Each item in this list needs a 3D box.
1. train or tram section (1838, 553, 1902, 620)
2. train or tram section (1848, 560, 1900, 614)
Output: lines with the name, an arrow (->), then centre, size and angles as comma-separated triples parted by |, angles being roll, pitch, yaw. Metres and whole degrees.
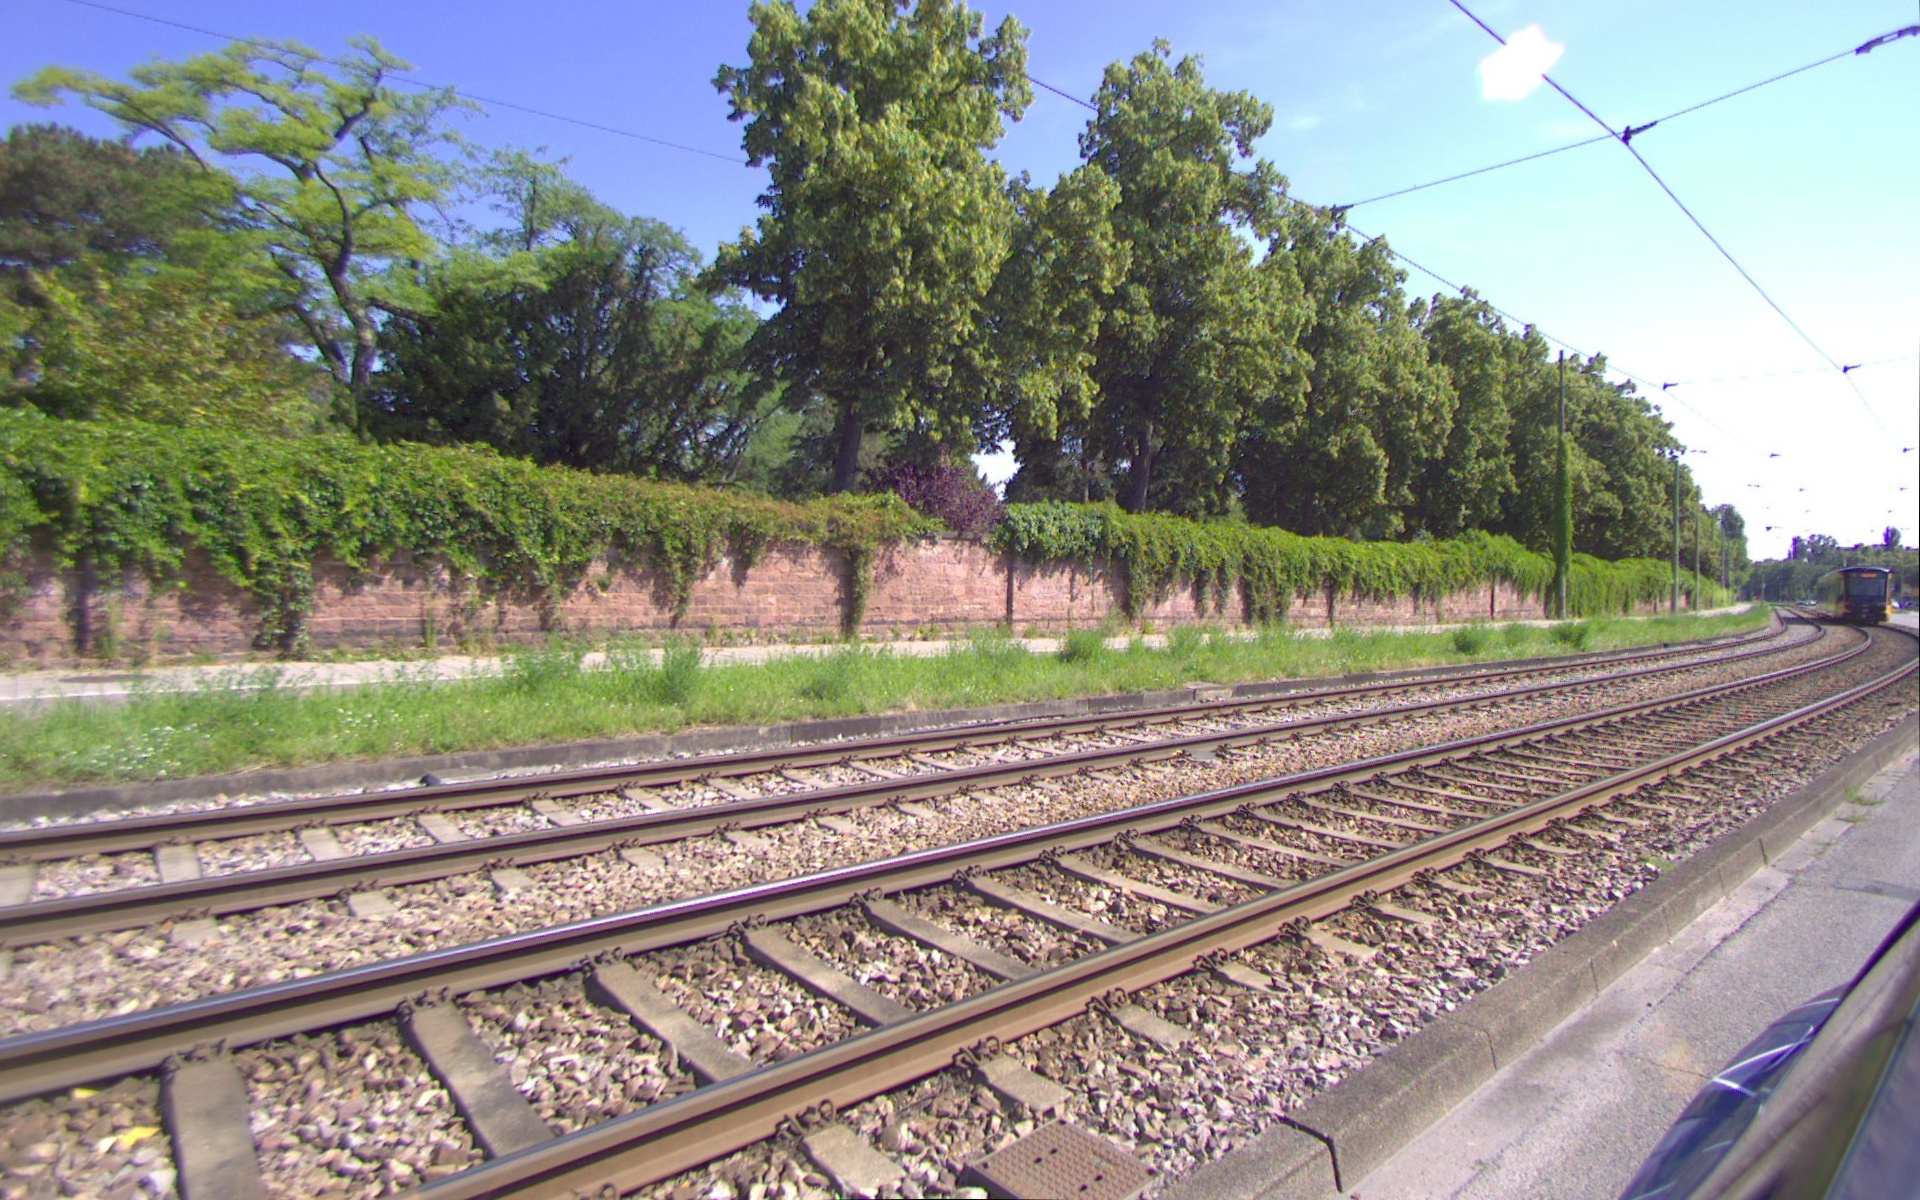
train or tram section -> 58.358, -0.815, 64.802 | 2.713, 3.785, 18.587 | 0, 0, 43
train or tram section -> 70.936, -0.973, 78.461 | 2.713, 3.785, 18.587 | 0, 0, 43
